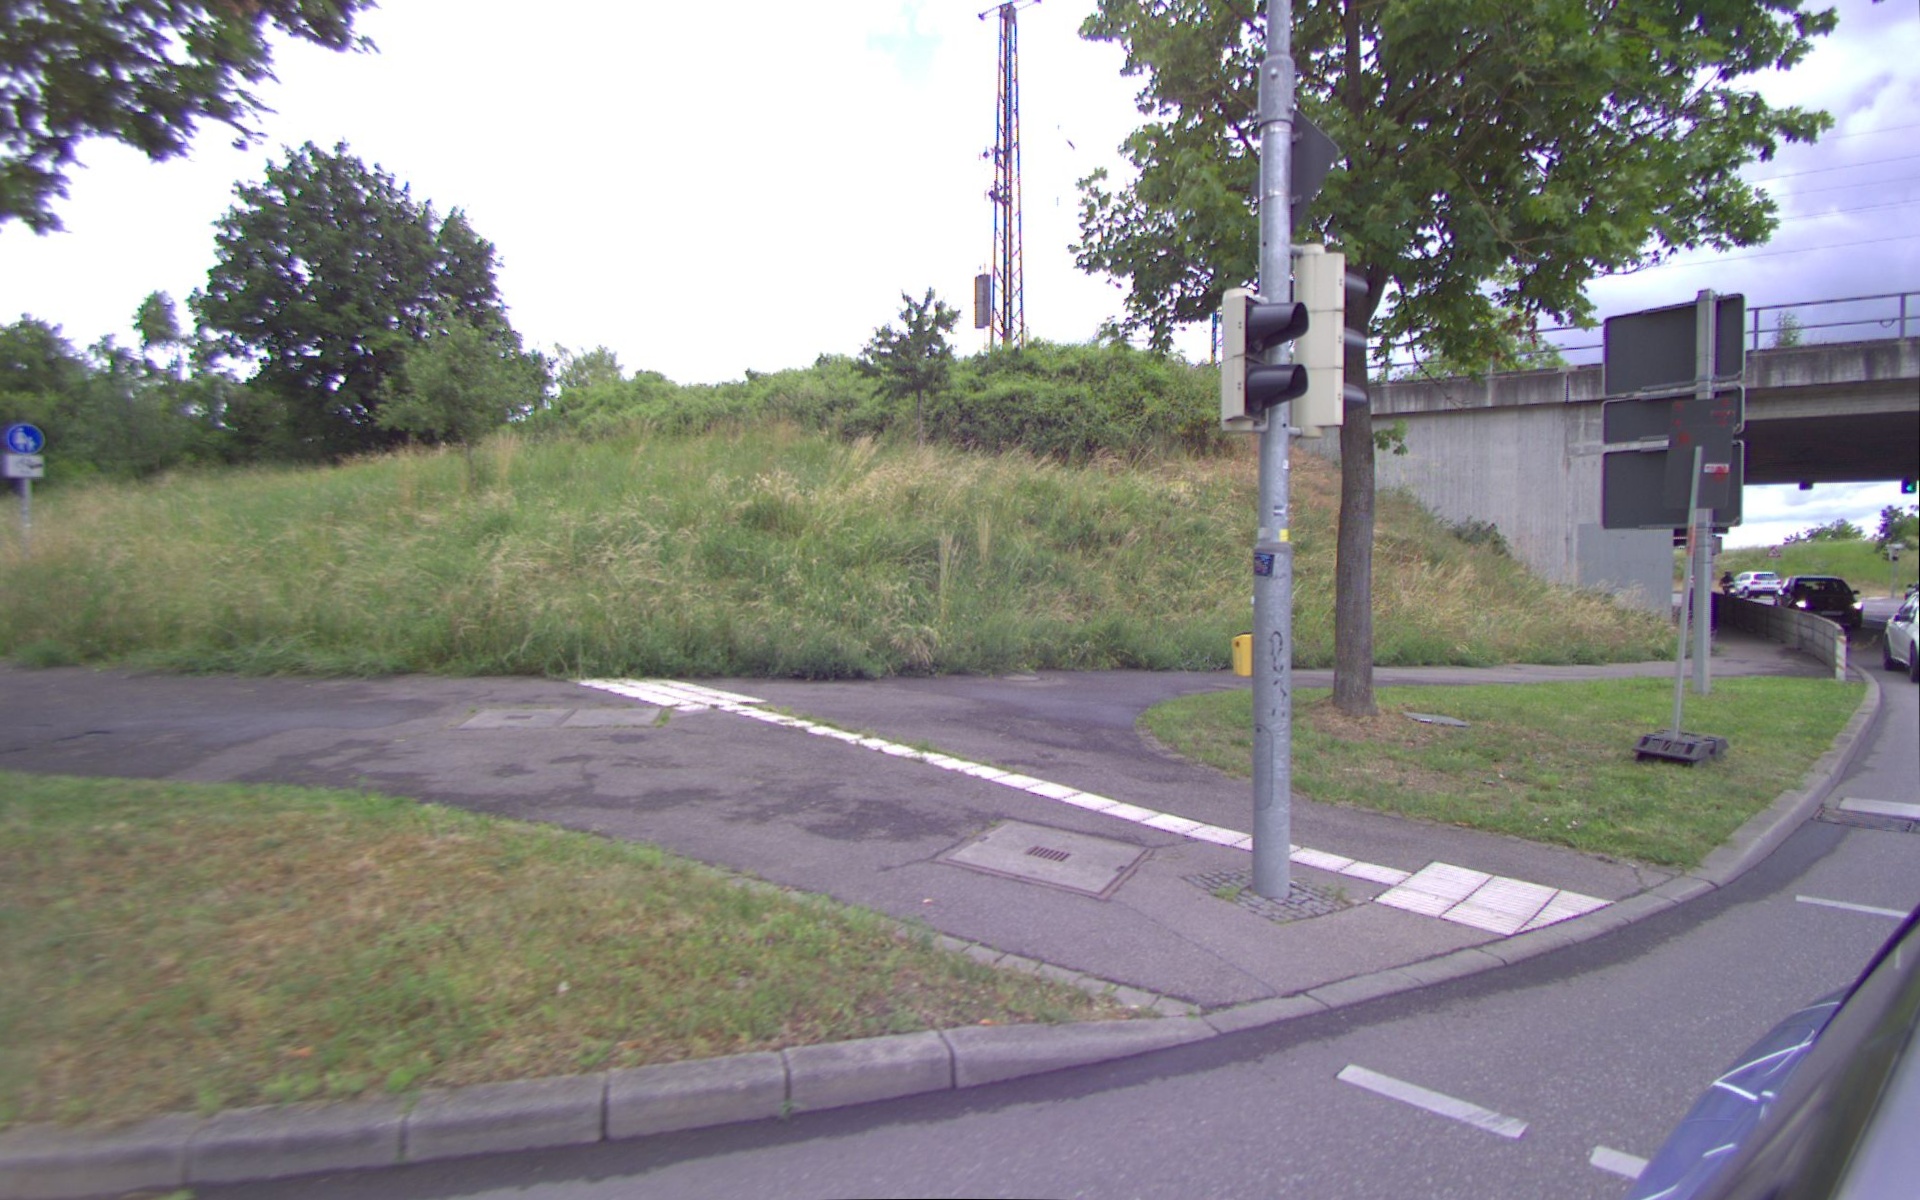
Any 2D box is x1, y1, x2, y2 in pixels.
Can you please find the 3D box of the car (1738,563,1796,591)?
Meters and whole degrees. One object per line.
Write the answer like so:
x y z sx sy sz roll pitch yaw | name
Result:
50.575 -1.389 63.492 1.739 1.689 3.860 0 0 21 | car

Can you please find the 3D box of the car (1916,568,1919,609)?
38.196 -0.432 38.554 1.747 1.640 4.320 0 0 33 | car

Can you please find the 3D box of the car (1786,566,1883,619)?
27.744 -0.231 32.226 1.747 1.560 3.954 0 0 32 | car

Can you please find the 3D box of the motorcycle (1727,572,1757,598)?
34.864 -0.647 45.145 0.877 1.118 2.332 0 0 33 | motorcycle

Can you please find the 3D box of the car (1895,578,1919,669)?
16.778 0.383 16.420 1.895 1.498 4.041 0 0 36 | car

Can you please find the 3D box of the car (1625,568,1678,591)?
48.646 -1.429 71.283 1.733 1.511 3.984 0 0 13 | car

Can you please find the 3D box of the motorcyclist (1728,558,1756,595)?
34.795 -1.027 45.044 0.877 1.625 1.229 0 0 33 | motorcyclist
